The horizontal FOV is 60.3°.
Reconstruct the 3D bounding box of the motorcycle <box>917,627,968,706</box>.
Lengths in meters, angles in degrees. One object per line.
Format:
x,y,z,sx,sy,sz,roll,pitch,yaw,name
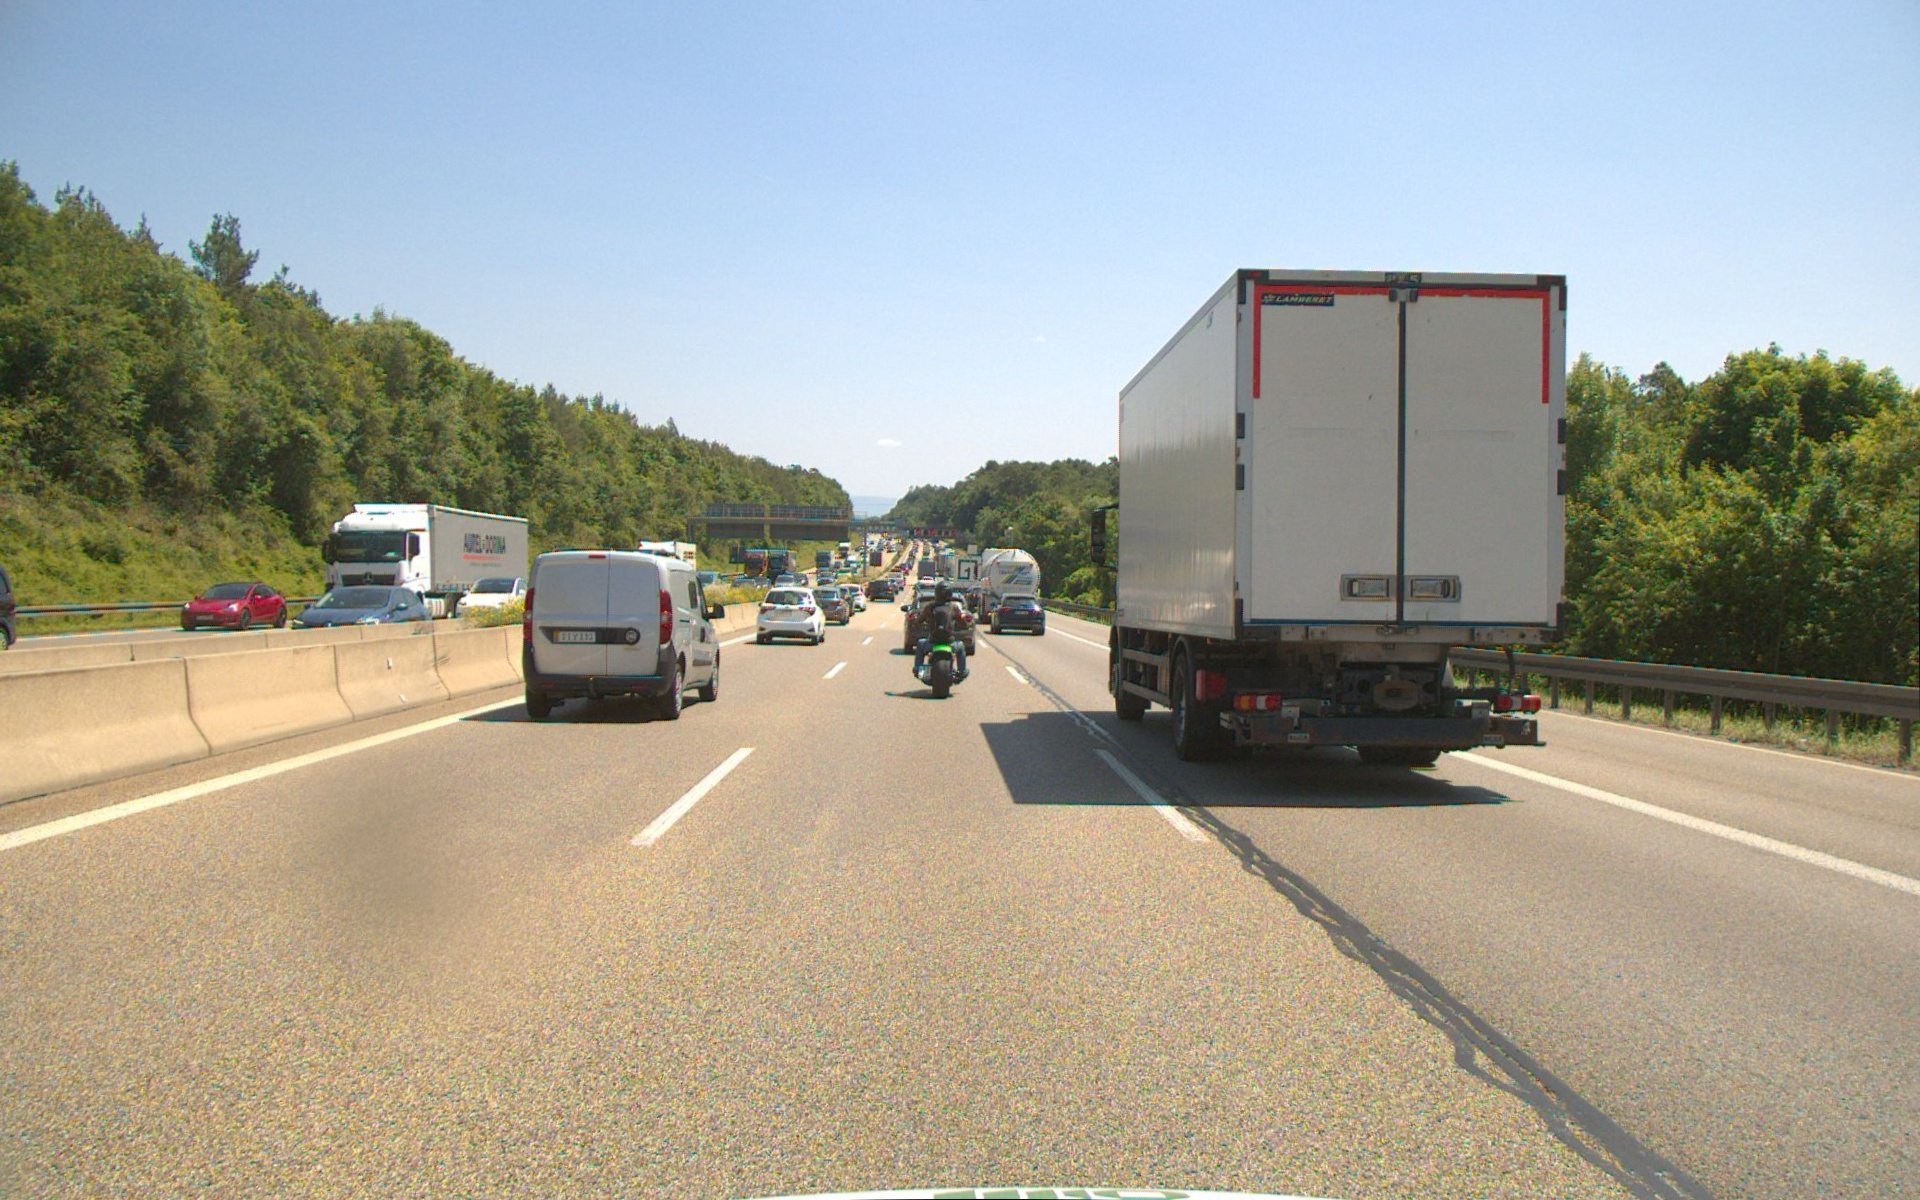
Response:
-0.242,0.950,24.247,0.677,1.033,2.121,2,0,0,motorcycle

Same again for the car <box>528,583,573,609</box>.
-23.841,-0.229,96.397,1.633,1.492,4.189,1,0,-1,car

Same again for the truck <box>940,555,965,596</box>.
-1.071,-3.216,220.692,2.972,5.229,9.980,2,1,-1,truck

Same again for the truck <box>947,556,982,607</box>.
0.344,-1.782,158.814,2.972,4.621,9.980,2,1,-1,truck

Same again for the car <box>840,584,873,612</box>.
-5.781,-0.147,92.883,1.665,1.504,3.999,1,1,-1,car

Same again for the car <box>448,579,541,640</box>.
-15.791,0.321,56.363,1.953,1.983,4.746,-1,0,-2,car

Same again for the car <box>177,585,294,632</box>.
-22.468,0.253,51.489,1.727,1.394,4.500,0,0,-1,car

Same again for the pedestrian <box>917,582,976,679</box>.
-0.189,0.438,24.230,0.832,1.385,0.961,-1,0,0,pedestrian

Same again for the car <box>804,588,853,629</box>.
-5.180,0.299,65.397,1.665,1.504,3.999,1,1,-1,car

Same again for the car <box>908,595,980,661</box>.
-0.347,0.648,40.948,1.500,1.536,4.002,-1,0,3,car

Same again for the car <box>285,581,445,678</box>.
-11.746,0.543,32.934,1.736,1.803,4.183,0,0,-1,car

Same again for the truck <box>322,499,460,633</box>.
-19.216,-1.118,56.200,2.783,4.288,5.658,1,0,-1,truck

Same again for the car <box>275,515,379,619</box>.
-24.917,-1.281,65.249,2.399,3.941,4.564,-1,0,-2,car

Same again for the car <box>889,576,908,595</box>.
-6.791,-1.615,182.745,1.890,2.049,3.999,-1,0,-1,car

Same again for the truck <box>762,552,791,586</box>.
-22.683,-3.769,204.496,2.847,4.043,7.767,-1,0,-1,truck

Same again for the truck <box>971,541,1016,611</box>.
1.737,-1.216,87.641,1.954,3.584,4.748,-1,0,-3,truck

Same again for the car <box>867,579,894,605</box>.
-5.957,-0.638,124.965,1.842,1.892,3.999,2,0,-1,car

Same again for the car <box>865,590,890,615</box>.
-6.998,0.222,140.098,1.953,2.049,3.999,-1,0,-1,car

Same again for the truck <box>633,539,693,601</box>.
-20.821,-2.032,116.240,2.745,4.238,7.600,0,0,1,truck

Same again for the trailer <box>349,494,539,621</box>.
-19.251,-1.383,63.059,2.777,4.238,14.735,-1,0,-1,trailer

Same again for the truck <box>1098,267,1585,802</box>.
3.266,-0.513,17.258,2.633,3.944,9.778,-1,0,-1,truck

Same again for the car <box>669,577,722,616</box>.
-13.116,-0.150,82.228,1.873,1.879,5.034,-1,0,-1,car

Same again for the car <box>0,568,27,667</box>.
-18.607,0.342,29.226,1.699,1.841,4.861,0,0,-3,car

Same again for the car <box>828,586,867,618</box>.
-5.459,0.075,80.789,1.665,1.504,3.999,1,1,-1,car

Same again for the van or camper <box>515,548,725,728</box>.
-4.028,0.424,20.249,1.760,1.925,4.158,2,0,-2,van or camper

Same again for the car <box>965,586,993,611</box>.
1.246,-0.127,111.199,1.751,1.583,3.802,1,1,-1,car

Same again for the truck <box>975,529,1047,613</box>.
2.331,-1.274,78.692,2.927,3.735,9.285,-1,0,-1,truck

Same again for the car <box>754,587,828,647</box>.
-4.552,0.430,45.019,1.665,1.504,3.999,1,1,-1,car

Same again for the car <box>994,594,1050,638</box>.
2.244,0.563,61.037,1.792,1.496,3.999,2,1,-1,car

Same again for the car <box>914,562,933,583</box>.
-4.957,-3.708,223.372,2.454,2.632,5.015,1,1,-1,car
